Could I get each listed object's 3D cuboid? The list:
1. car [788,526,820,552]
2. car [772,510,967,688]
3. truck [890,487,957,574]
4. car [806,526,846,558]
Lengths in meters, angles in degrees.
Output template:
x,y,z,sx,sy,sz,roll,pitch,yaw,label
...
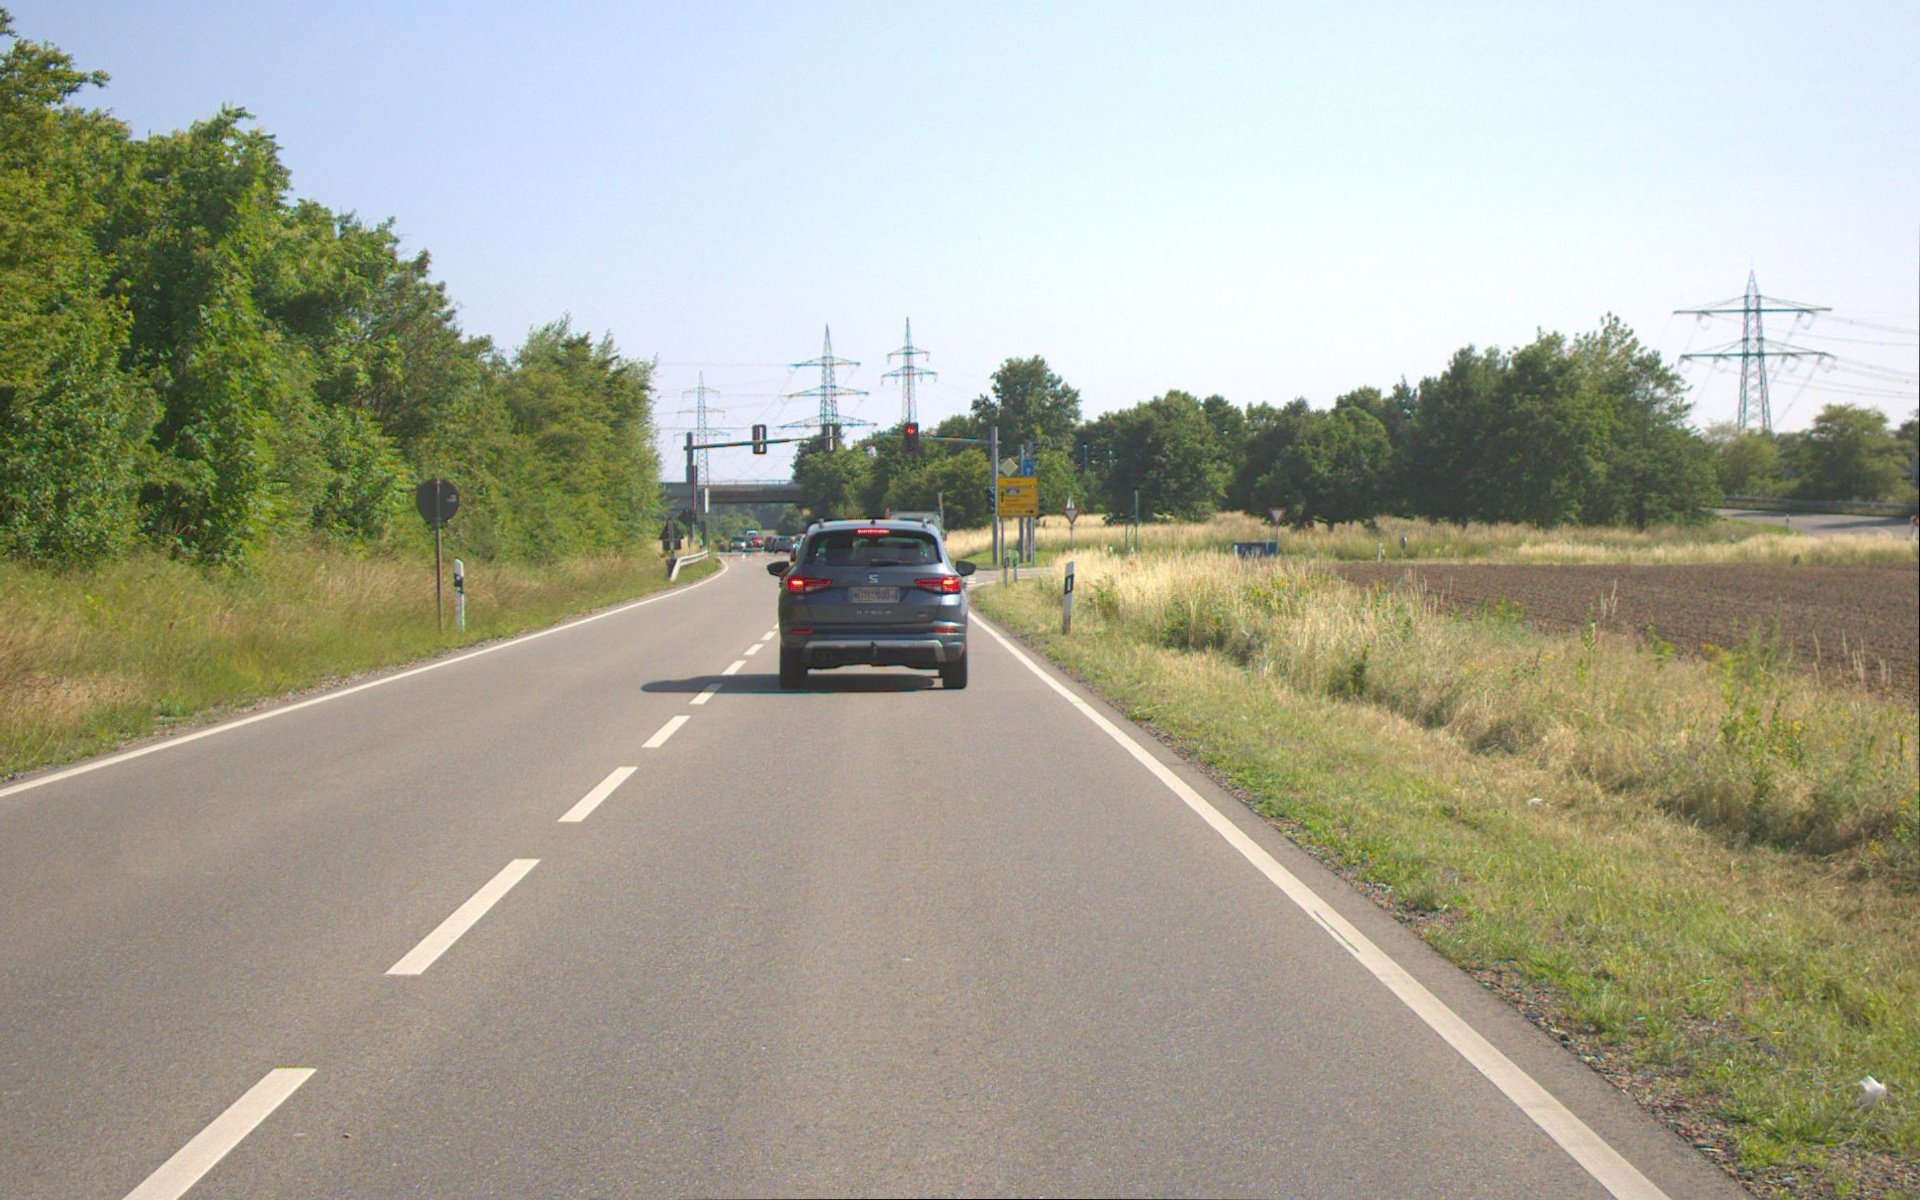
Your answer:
x,y,z,sx,sy,sz,roll,pitch,yaw,label
-8.748,-3.408,192.270,1.684,1.375,3.534,0,2,-4,car
-0.877,-0.062,33.536,1.785,1.623,4.001,0,2,-1,car
-1.310,-2.471,123.989,2.337,3.055,5.810,0,1,0,truck
-6.720,-2.902,172.209,1.816,1.535,4.001,-1,1,-5,car
